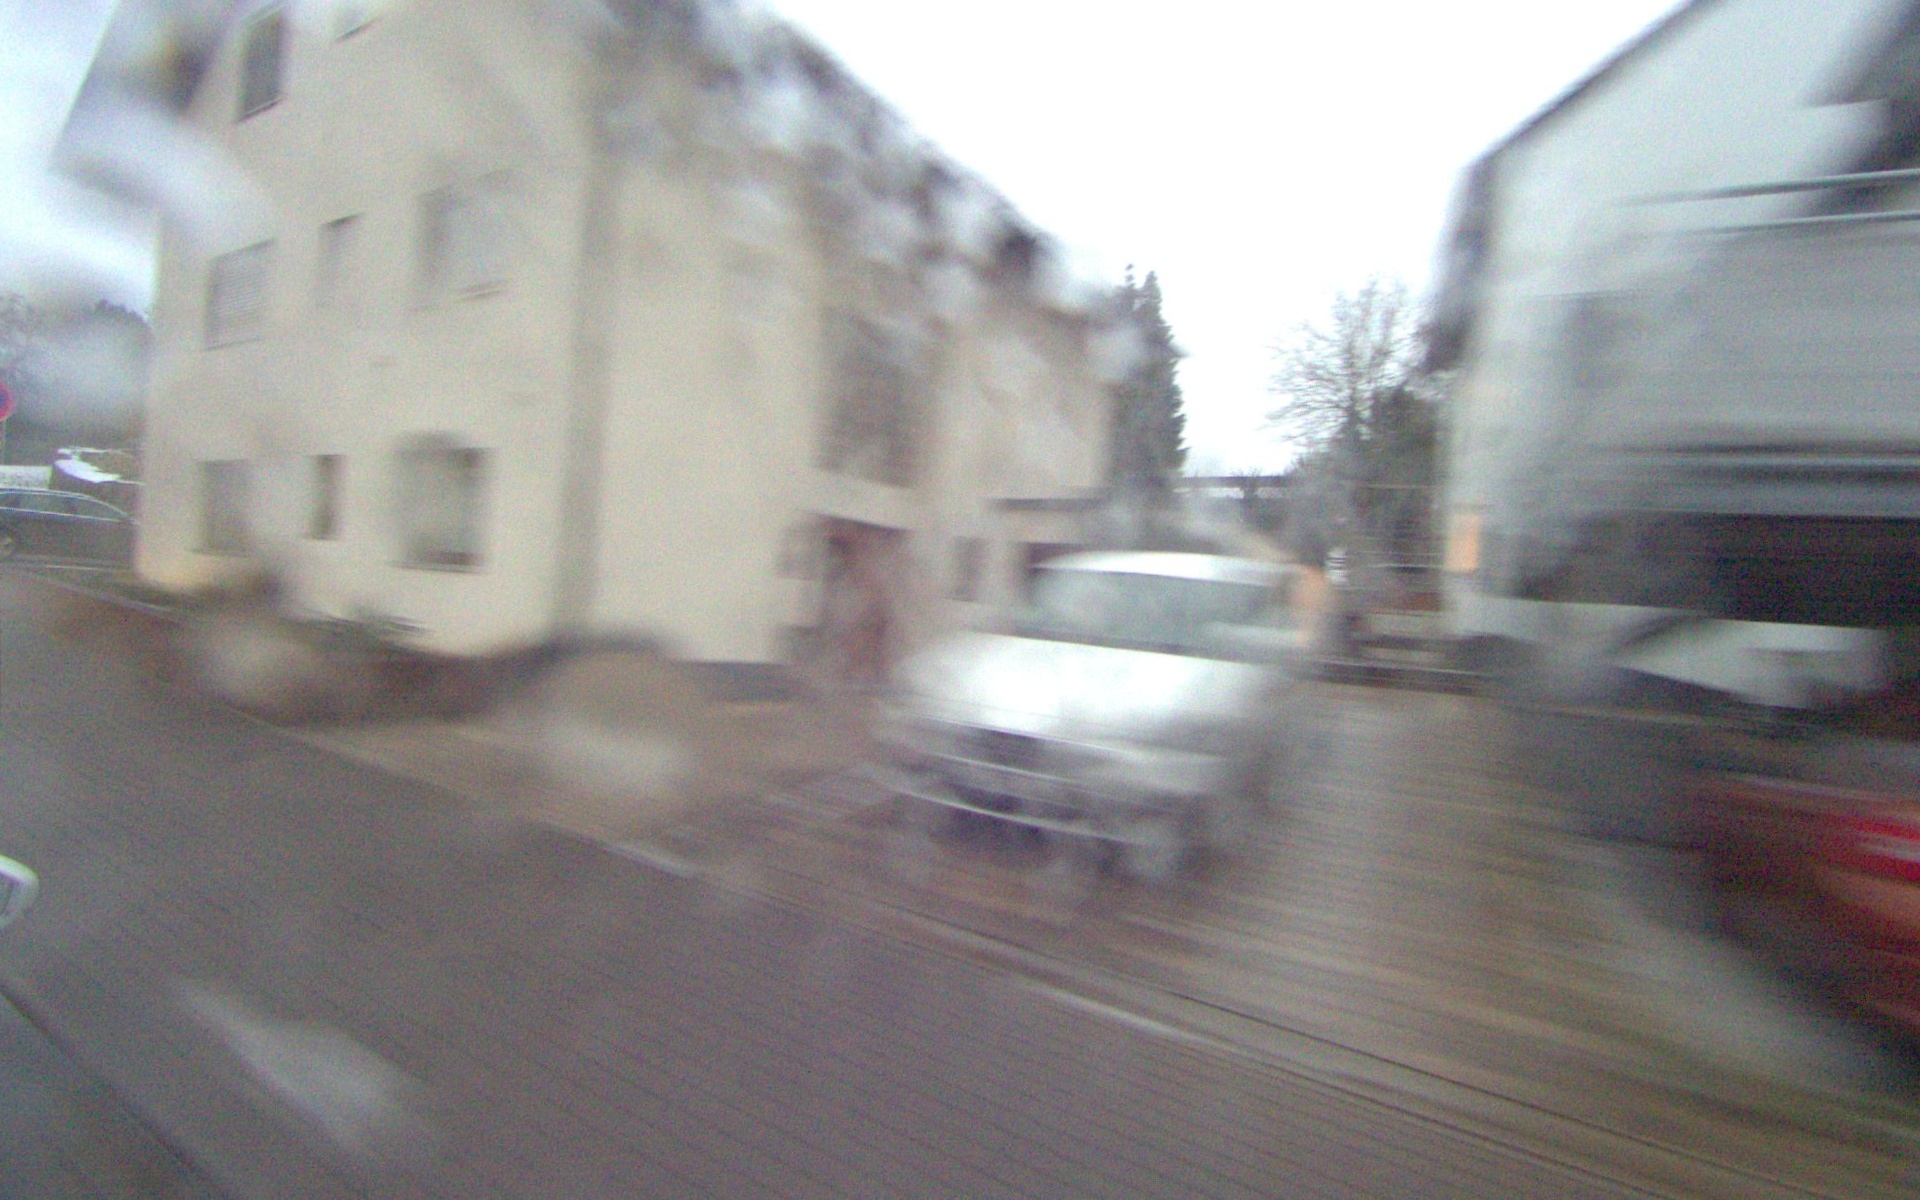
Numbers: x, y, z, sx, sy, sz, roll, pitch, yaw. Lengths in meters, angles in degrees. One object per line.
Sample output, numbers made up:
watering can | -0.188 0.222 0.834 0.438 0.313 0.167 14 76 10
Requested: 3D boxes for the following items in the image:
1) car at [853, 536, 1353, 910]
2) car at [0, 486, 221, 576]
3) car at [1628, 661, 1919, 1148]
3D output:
car | 1.273 0.409 6.690 1.749 1.479 4.272 6 8 30
car | -18.149 -1.437 20.573 1.970 1.462 4.498 7 2 39
car | 4.498 1.098 4.587 1.660 1.475 3.997 4 -1 24
